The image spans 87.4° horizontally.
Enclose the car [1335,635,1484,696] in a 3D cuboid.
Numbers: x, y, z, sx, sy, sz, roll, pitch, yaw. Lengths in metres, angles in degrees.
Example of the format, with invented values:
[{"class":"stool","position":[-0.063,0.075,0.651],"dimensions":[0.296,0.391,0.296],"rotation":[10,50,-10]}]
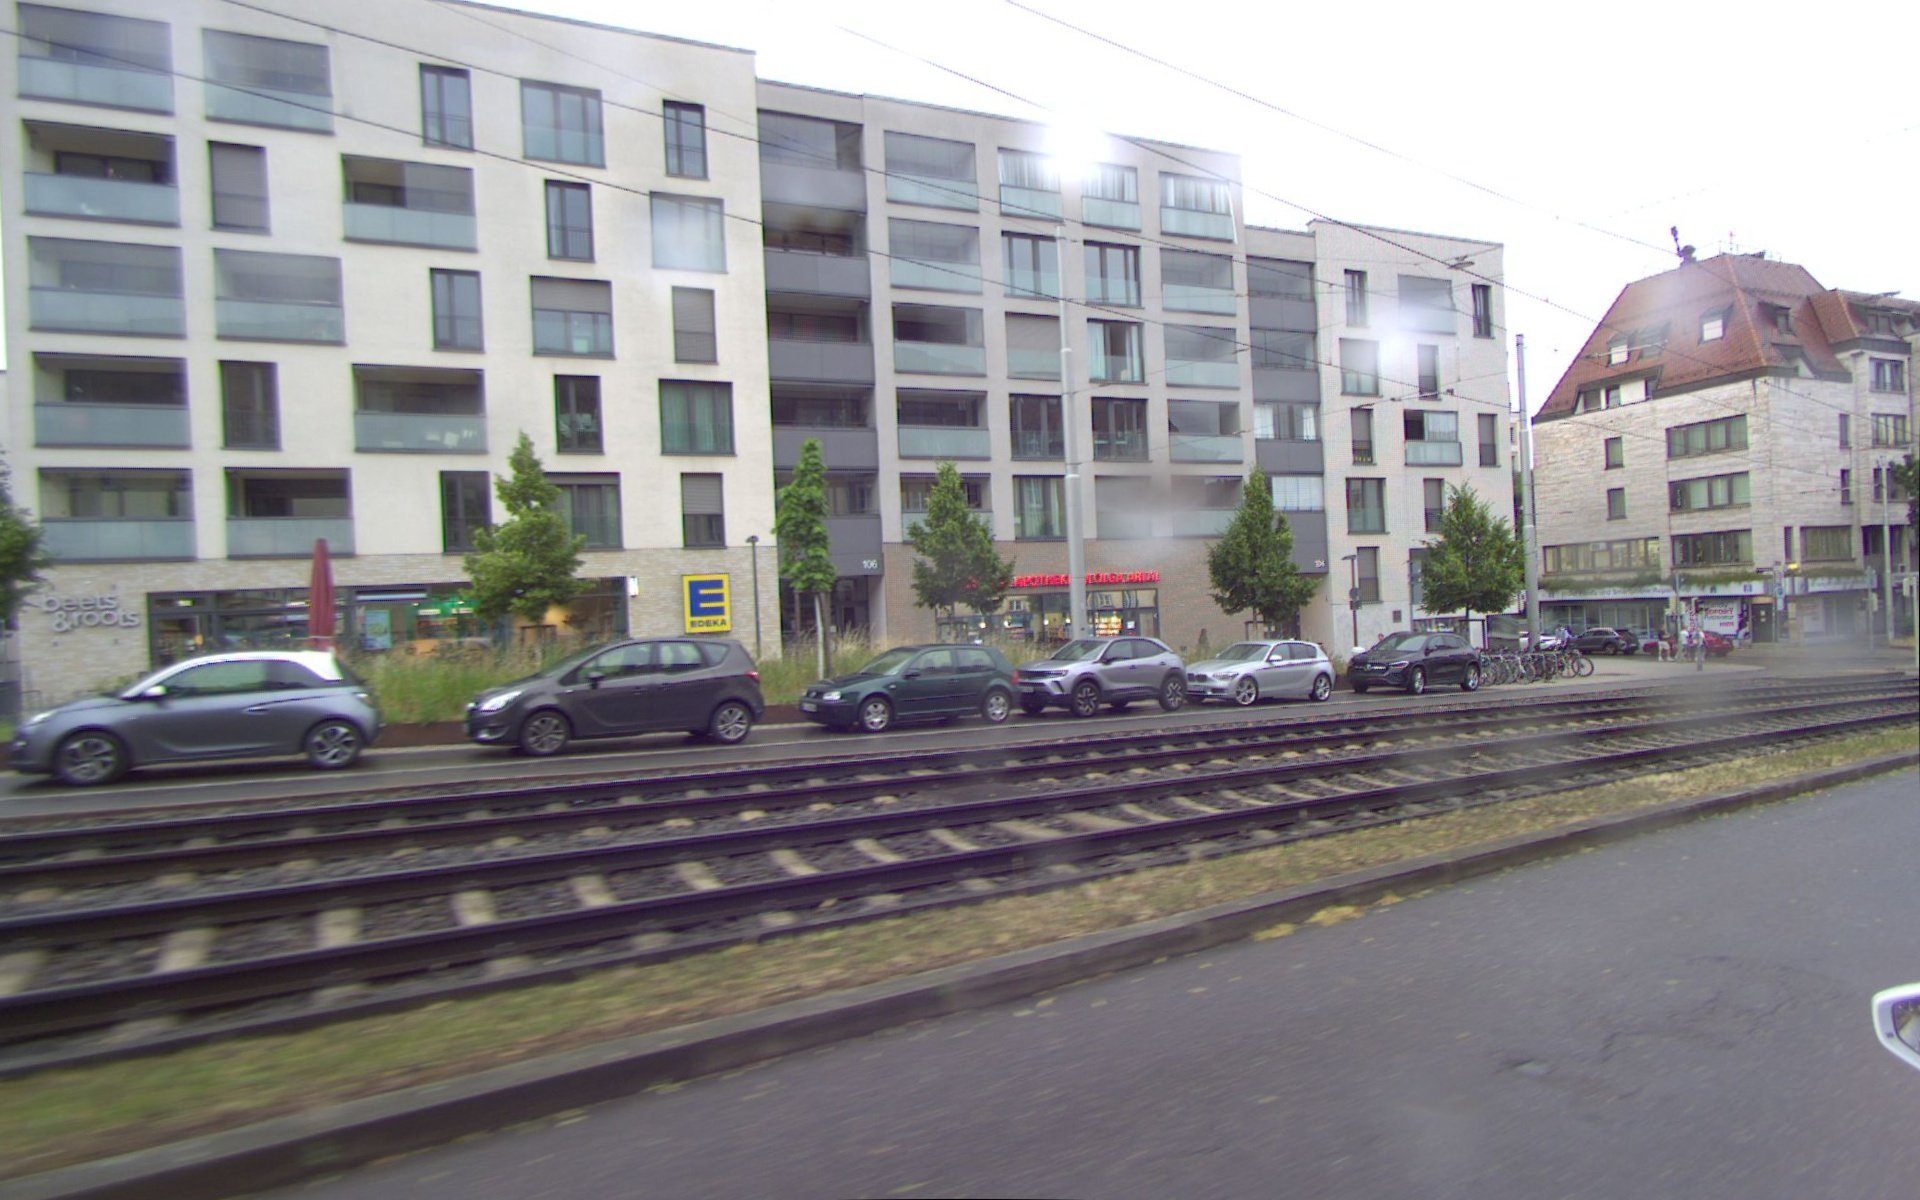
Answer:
[{"class":"car","position":[12.233,1.737,27.261],"dimensions":[4.197,1.523,1.898],"rotation":[1,-3,-37]}]

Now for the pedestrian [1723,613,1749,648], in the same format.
[{"class":"pedestrian","position":[43.522,1.719,56.360],"dimensions":[0.817,1.957,0.899],"rotation":[0,-2,-37]}]

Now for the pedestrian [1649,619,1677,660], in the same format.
[{"class":"pedestrian","position":[35.016,1.954,50.029],"dimensions":[0.757,2.040,0.935],"rotation":[1,-2,-37]}]

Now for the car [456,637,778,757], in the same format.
[{"class":"car","position":[-5.021,1.341,14.916],"dimensions":[4.271,1.533,1.710],"rotation":[1,-3,-33]}]

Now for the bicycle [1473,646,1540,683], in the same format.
[{"class":"bicycle","position":[17.046,2.000,31.337],"dimensions":[1.777,1.078,0.455],"rotation":[-1,-1,43]}]

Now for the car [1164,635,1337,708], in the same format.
[{"class":"car","position":[6.769,1.598,23.276],"dimensions":[4.045,1.523,1.760],"rotation":[1,-3,-37]}]

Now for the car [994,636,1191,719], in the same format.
[{"class":"car","position":[2.753,1.525,20.548],"dimensions":[3.884,1.523,1.760],"rotation":[1,-3,-37]}]

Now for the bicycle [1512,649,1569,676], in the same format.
[{"class":"bicycle","position":[20.240,2.174,35.030],"dimensions":[0.565,0.877,1.634],"rotation":[1,-1,-42]}]

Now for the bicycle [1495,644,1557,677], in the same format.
[{"class":"bicycle","position":[19.576,2.085,34.758],"dimensions":[0.565,1.078,1.779],"rotation":[1,-1,-44]}]

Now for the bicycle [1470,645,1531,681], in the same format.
[{"class":"bicycle","position":[17.444,2.014,32.448],"dimensions":[0.480,1.086,1.760],"rotation":[0,-1,-30]}]

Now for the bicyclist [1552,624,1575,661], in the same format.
[{"class":"bicyclist","position":[25.992,1.824,43.264],"dimensions":[0.690,1.594,0.461],"rotation":[0,-1,-14]}]

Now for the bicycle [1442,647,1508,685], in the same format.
[{"class":"bicycle","position":[15.920,2.030,31.089],"dimensions":[0.454,1.078,1.779],"rotation":[1,-1,-43]}]

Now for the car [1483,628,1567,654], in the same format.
[{"class":"car","position":[35.845,2.573,63.842],"dimensions":[1.881,1.589,4.449],"rotation":[0,-2,-24]}]

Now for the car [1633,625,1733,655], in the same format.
[{"class":"car","position":[39.506,2.170,54.993],"dimensions":[1.798,1.589,4.124],"rotation":[0,-2,-24]}]

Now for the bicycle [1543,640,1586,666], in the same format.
[{"class":"bicycle","position":[26.027,2.270,43.263],"dimensions":[1.771,1.078,0.456],"rotation":[0,-1,-13]}]

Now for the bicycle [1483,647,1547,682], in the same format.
[{"class":"bicycle","position":[18.245,2.097,33.057],"dimensions":[1.777,1.078,0.455],"rotation":[-1,-1,43]}]

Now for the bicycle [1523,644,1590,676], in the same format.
[{"class":"bicycle","position":[21.143,2.117,35.637],"dimensions":[0.715,1.041,1.932],"rotation":[1,-1,-41]}]

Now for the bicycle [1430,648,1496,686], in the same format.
[{"class":"bicycle","position":[15.342,2.035,30.689],"dimensions":[0.453,1.078,1.782],"rotation":[1,-1,-39]}]

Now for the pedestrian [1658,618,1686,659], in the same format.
[{"class":"pedestrian","position":[36.023,1.961,50.806],"dimensions":[0.757,2.040,0.935],"rotation":[1,-2,-37]}]

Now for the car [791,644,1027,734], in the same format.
[{"class":"car","position":[-0.850,1.504,17.796],"dimensions":[3.966,1.380,1.540],"rotation":[1,-2,-33]}]

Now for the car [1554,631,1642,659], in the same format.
[{"class":"car","position":[37.763,2.618,59.555],"dimensions":[1.798,1.589,4.124],"rotation":[0,-2,-24]}]

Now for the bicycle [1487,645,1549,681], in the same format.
[{"class":"bicycle","position":[18.724,2.108,33.726],"dimensions":[1.774,1.123,0.454],"rotation":[-1,-1,38]}]

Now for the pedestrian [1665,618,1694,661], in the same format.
[{"class":"pedestrian","position":[35.132,1.917,49.077],"dimensions":[0.757,2.040,0.935],"rotation":[1,-2,-37]}]

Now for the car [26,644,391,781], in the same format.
[{"class":"car","position":[-9.056,1.292,12.450],"dimensions":[3.413,1.454,1.541],"rotation":[1,-3,-33]}]

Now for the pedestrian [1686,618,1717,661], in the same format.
[{"class":"pedestrian","position":[35.577,1.872,48.191],"dimensions":[0.756,2.040,0.936],"rotation":[0,-2,-33]}]
